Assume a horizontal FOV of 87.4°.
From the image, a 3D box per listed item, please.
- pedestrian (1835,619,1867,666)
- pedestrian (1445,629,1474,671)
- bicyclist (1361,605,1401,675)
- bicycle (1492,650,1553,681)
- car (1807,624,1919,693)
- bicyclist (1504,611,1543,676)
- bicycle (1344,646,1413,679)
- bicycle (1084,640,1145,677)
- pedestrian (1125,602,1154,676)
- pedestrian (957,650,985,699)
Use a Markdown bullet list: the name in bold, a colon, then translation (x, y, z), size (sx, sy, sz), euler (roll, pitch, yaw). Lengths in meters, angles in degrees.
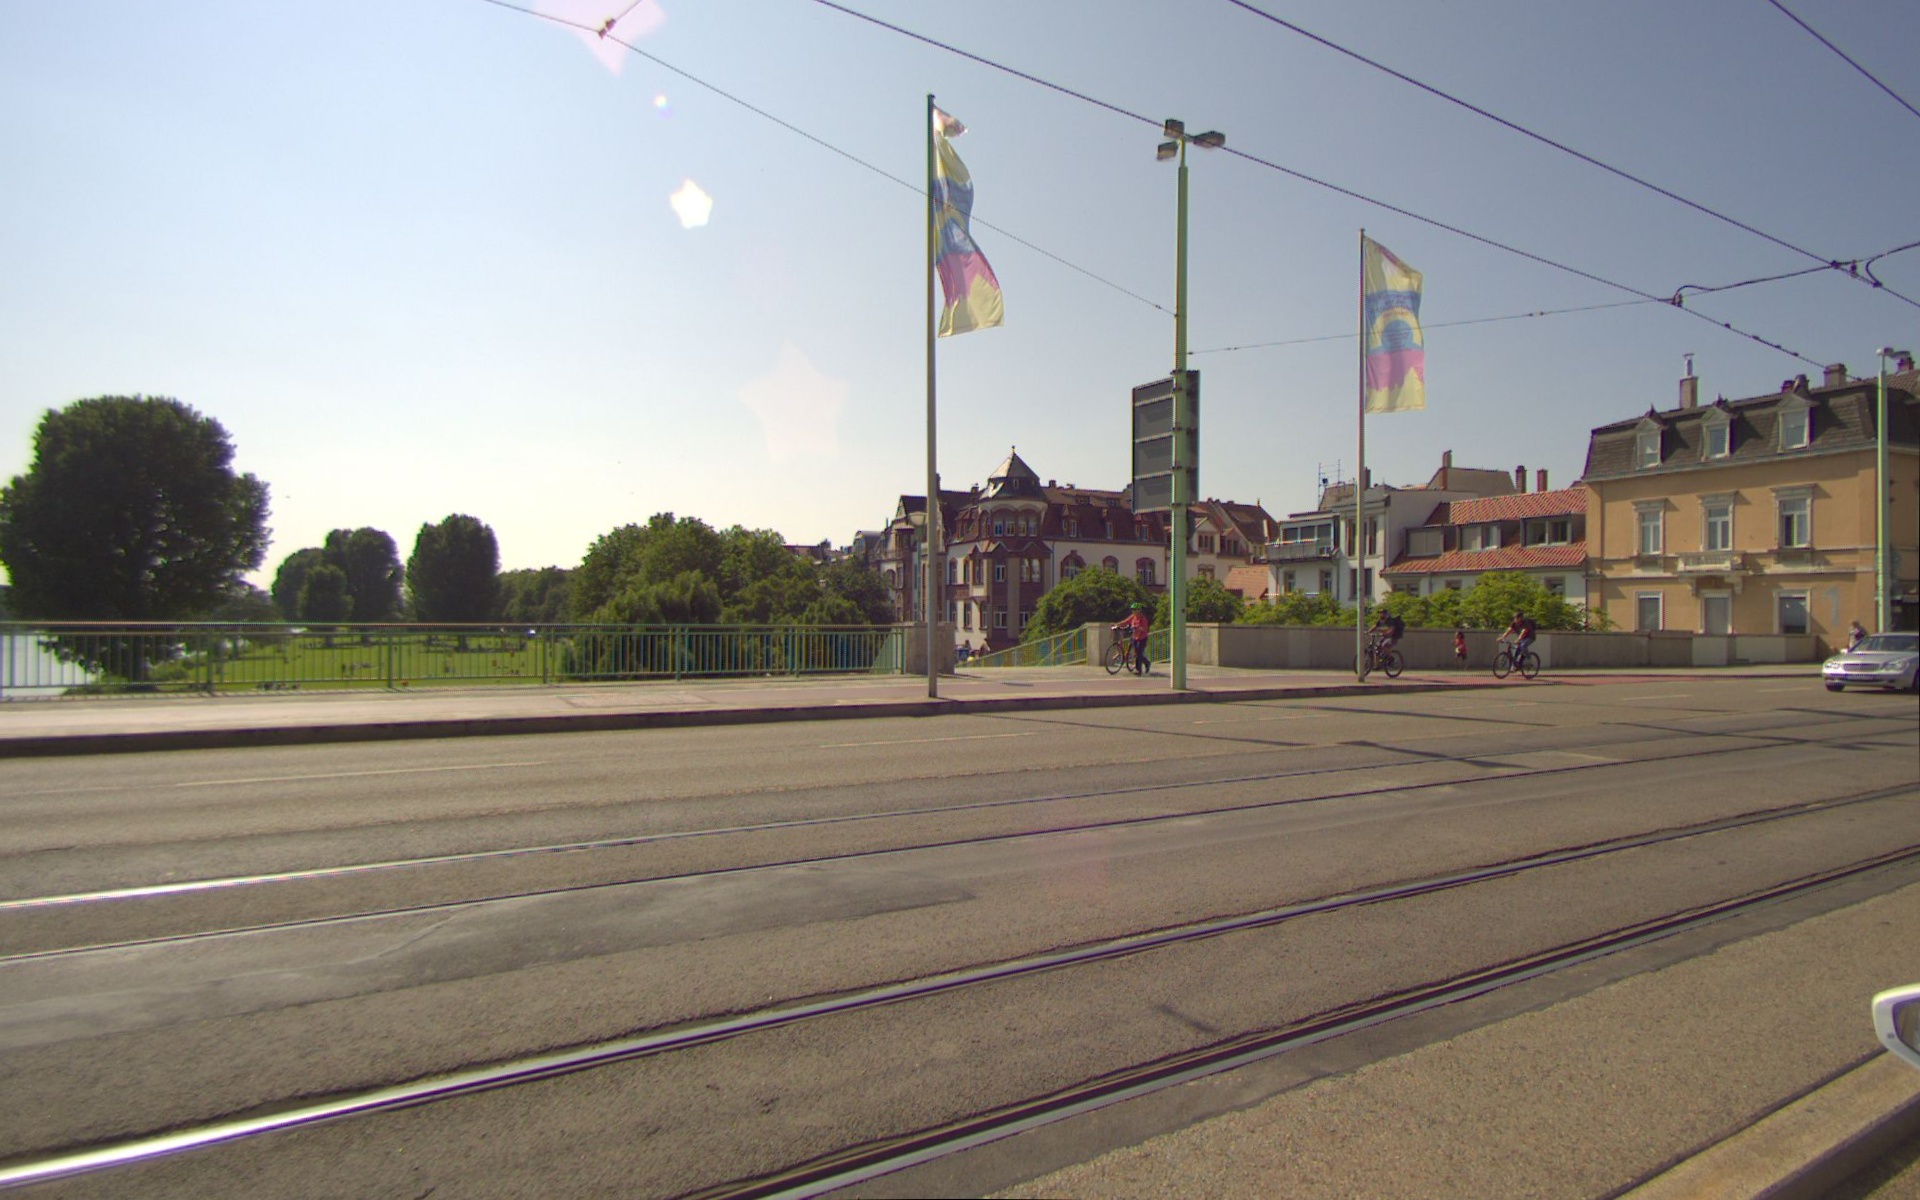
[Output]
- **pedestrian**: translation (32.435, 1.539, 36.575), size (0.559, 1.624, 0.646), euler (-1, 5, -29)
- **pedestrian**: translation (14.268, 1.428, 28.700), size (0.536, 1.161, 0.411), euler (2, 3, -18)
- **bicyclist**: translation (10.301, 0.968, 24.596), size (0.614, 1.672, 0.624), euler (0, 2, -29)
- **bicycle**: translation (14.921, 1.714, 26.631), size (1.711, 0.726, 0.617), euler (0, 1, -30)
- **car**: translation (22.135, 1.347, 23.753), size (4.318, 1.480, 1.724), euler (1, 0, -28)
- **bicyclist**: translation (14.931, 1.139, 26.619), size (0.614, 1.672, 0.624), euler (0, 2, -29)
- **bicycle**: translation (10.241, 1.520, 24.576), size (1.750, 0.726, 0.617), euler (0, 1, -30)
- **bicycle**: translation (3.617, 1.337, 23.387), size (0.612, 0.726, 1.927), euler (2, 1, 34)
- **pedestrian**: translation (4.154, 0.890, 23.220), size (0.406, 1.654, 0.626), euler (3, 2, 35)
- **pedestrian**: translation (0.404, 2.772, 37.624), size (0.791, 1.804, 0.743), euler (1, -1, -25)
